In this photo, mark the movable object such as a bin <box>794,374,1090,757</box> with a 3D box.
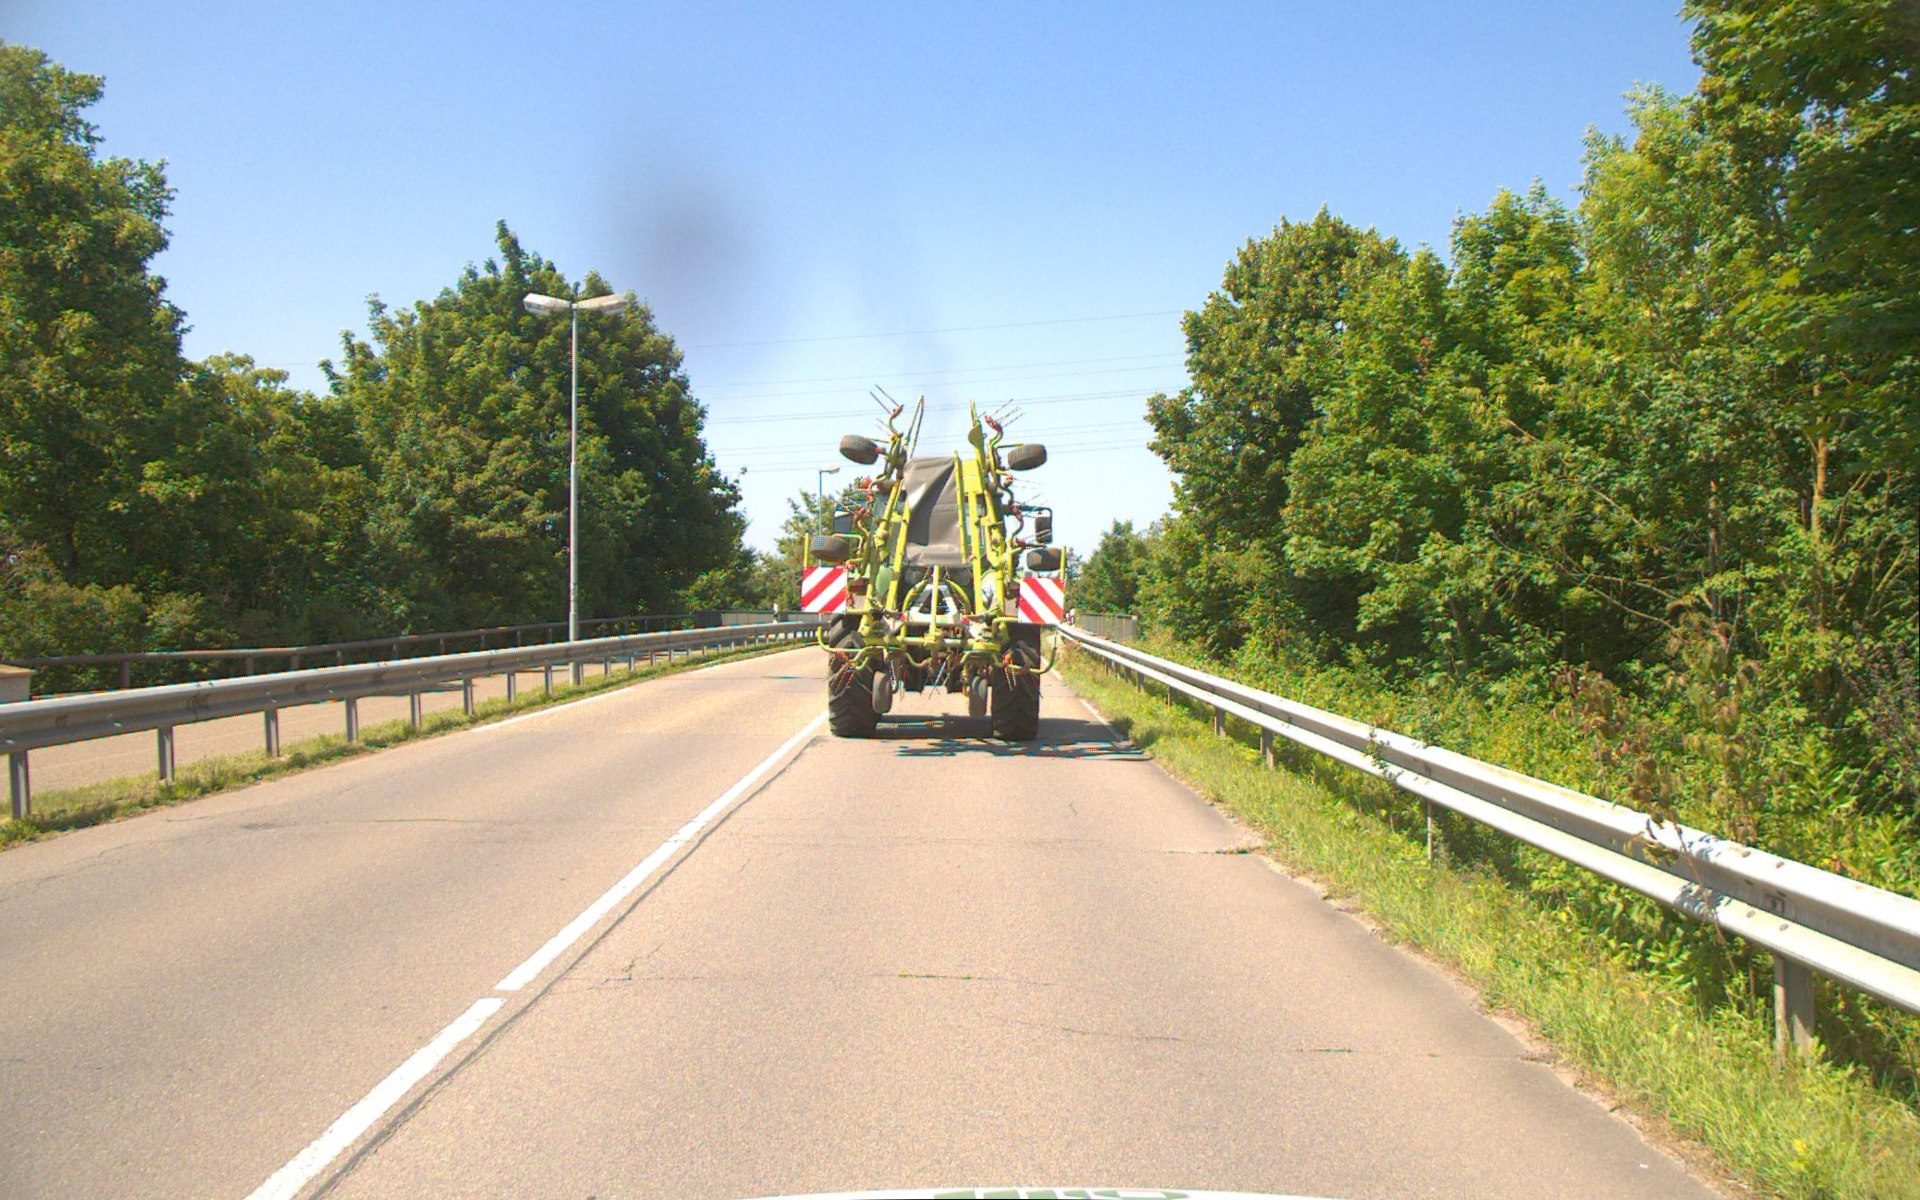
[{"bbox_3d":[-0.197,-0.325,18.017,2.699,3.504,5.669,0,0,-1],"label":"movable object such as a bin"}]
